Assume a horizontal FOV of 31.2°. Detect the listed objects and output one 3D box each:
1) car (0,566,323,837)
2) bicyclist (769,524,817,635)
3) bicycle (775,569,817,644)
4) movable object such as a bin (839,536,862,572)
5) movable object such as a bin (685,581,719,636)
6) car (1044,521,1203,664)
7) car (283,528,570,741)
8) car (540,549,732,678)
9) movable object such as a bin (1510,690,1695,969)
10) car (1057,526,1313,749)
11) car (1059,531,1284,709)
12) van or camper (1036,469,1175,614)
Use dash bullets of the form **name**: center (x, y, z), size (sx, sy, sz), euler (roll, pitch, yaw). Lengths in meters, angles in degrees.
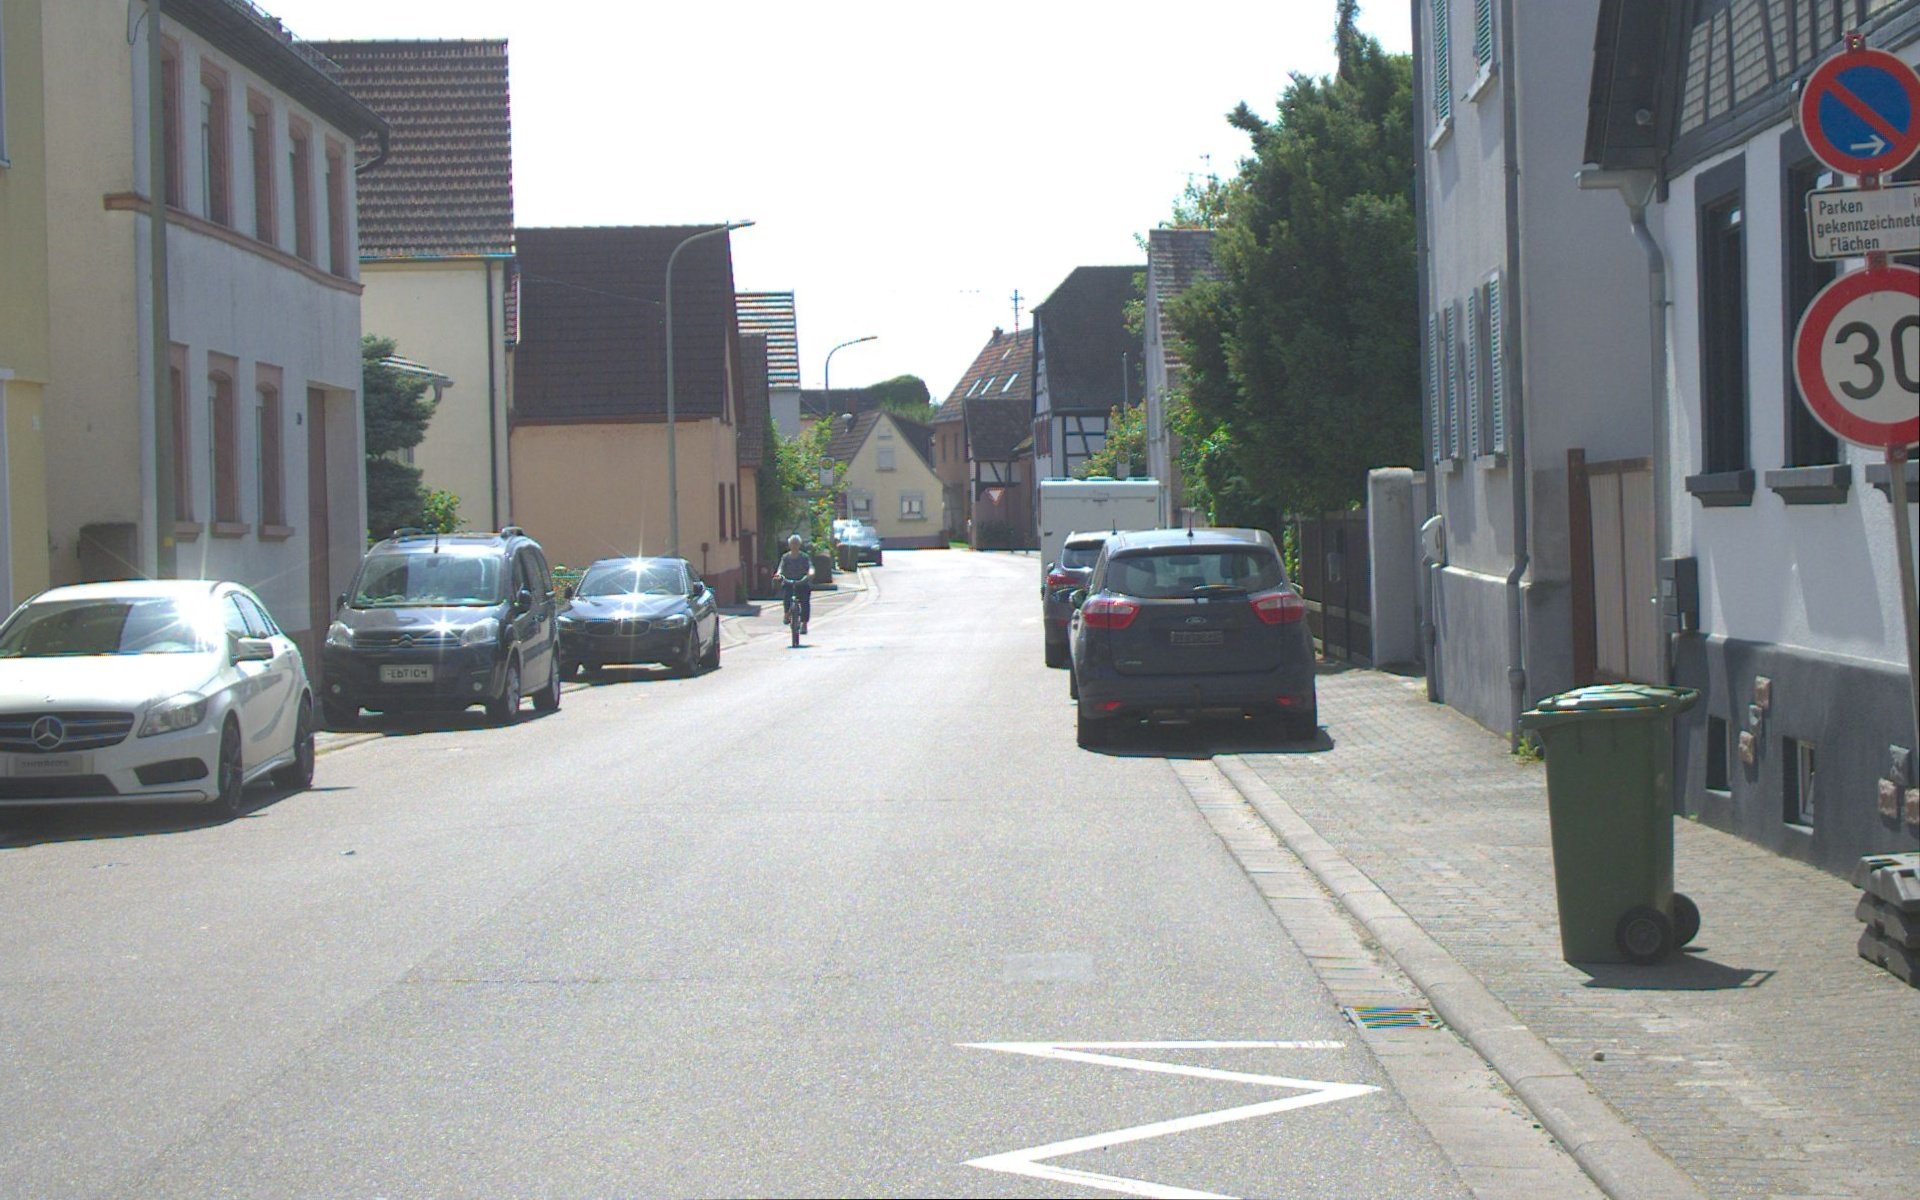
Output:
- **car**: center (-5.296, 0.570, 21.668), size (1.834, 1.459, 4.271), euler (-2, 1, -2)
- **bicyclist**: center (-2.685, -0.333, 55.311), size (0.703, 1.765, 0.625), euler (-2, 1, -2)
- **bicycle**: center (-2.625, 0.092, 55.230), size (0.589, 1.144, 1.949), euler (-3, 1, -2)
- **movable object such as a bin**: center (-3.783, -1.588, 118.594), size (0.688, 1.181, 0.714), euler (-3, 1, 1)
- **movable object such as a bin**: center (-4.506, 0.148, 60.049), size (0.539, 0.946, 0.553), euler (-1, 1, 1)
- **car**: center (2.113, -0.138, 43.429), size (1.794, 1.625, 4.360), euler (-2, 1, 5)
- **car**: center (-5.008, 0.267, 32.864), size (1.835, 1.831, 4.353), euler (-2, 1, 2)
- **car**: center (-4.175, 0.134, 44.992), size (1.844, 1.521, 4.765), euler (-2, 1, 2)
- **movable object such as a bin**: center (2.232, 0.786, 11.917), size (0.538, 0.910, 0.551), euler (-1, 1, 19)
- **car**: center (1.702, 0.230, 27.088), size (1.797, 1.555, 4.631), euler (-2, 1, 2)
- **car**: center (1.921, 0.137, 32.459), size (1.819, 1.503, 4.582), euler (-2, 1, 0)
- **van or camper**: center (2.813, -1.148, 67.489), size (2.522, 2.687, 4.555), euler (-2, 1, 1)
